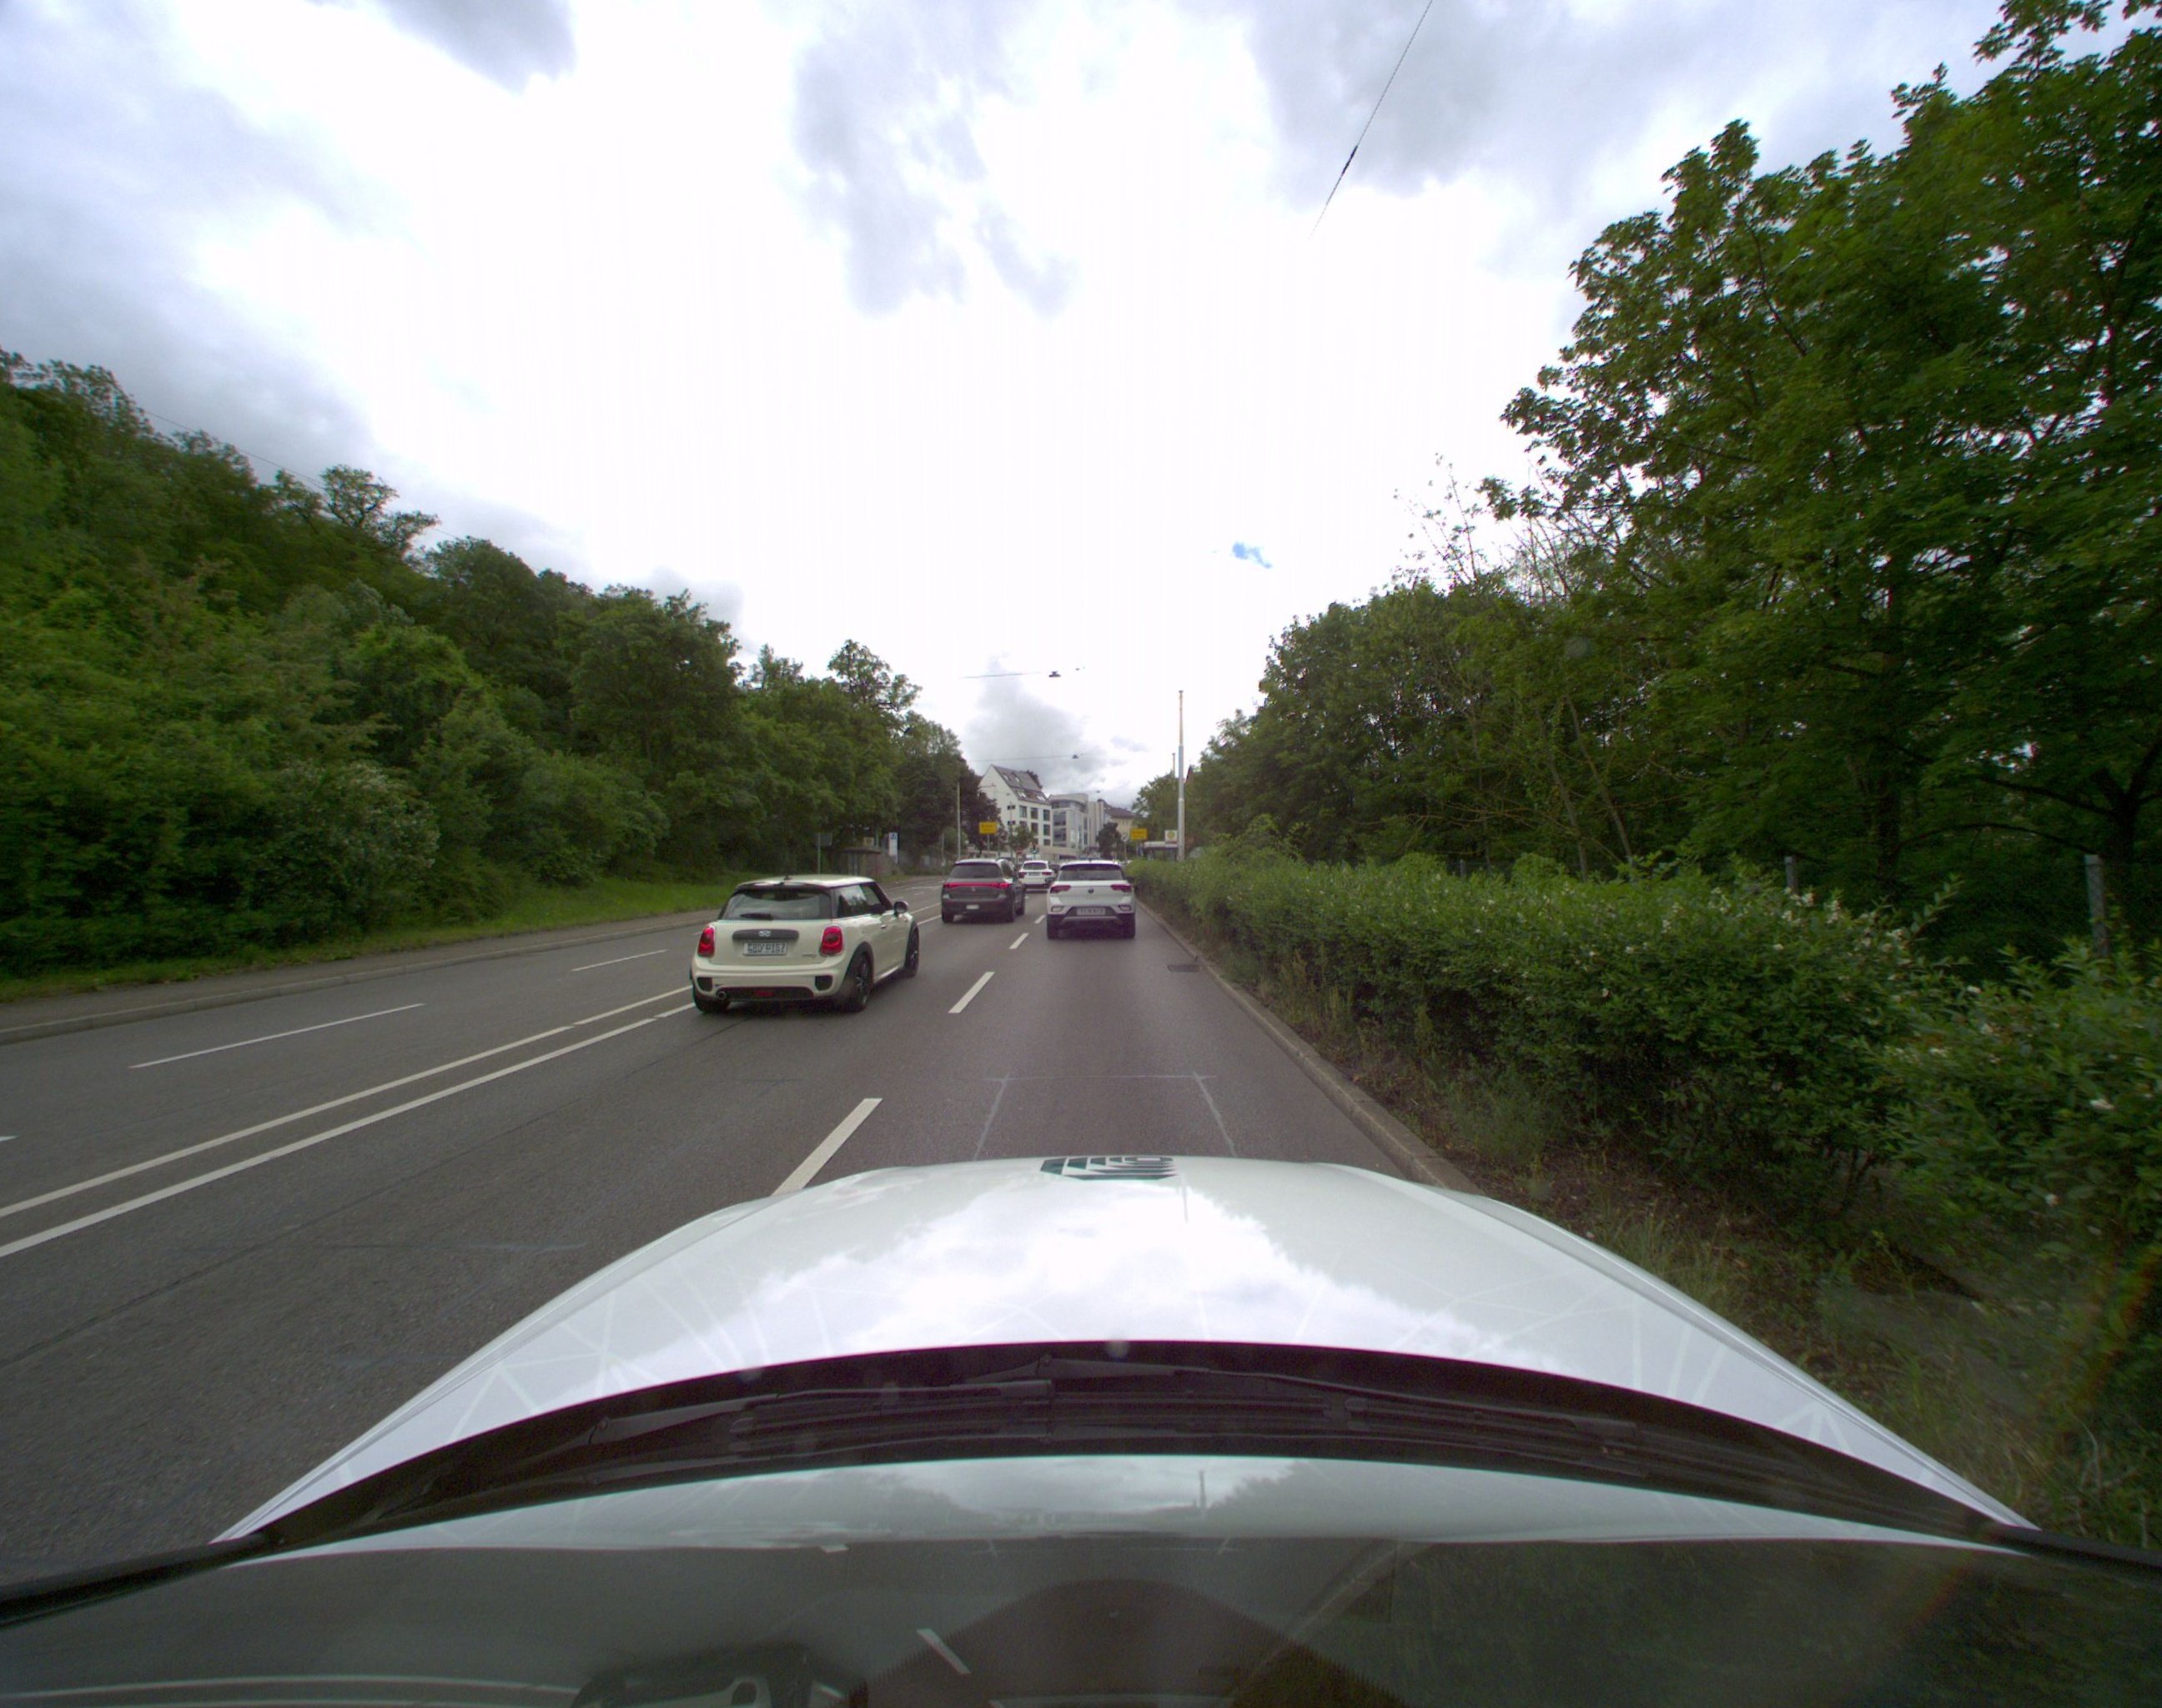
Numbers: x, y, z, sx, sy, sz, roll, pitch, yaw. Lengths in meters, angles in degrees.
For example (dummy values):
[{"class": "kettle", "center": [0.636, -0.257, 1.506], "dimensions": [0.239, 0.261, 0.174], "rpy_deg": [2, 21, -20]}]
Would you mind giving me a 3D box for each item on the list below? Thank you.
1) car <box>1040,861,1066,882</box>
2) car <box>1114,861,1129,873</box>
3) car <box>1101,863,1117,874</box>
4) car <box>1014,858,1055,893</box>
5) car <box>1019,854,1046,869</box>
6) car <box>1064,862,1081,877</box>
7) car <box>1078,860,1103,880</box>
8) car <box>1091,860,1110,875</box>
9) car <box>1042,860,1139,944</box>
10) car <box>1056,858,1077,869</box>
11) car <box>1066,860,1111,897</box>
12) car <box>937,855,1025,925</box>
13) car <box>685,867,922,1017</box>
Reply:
[{"class": "car", "center": [-2.106, 1.281, 62.143], "dimensions": [1.852, 1.500, 4.054], "rpy_deg": [-2, -1, -1]}, {"class": "car", "center": [5.767, 1.824, 114.671], "dimensions": [1.848, 1.500, 4.063], "rpy_deg": [-2, -1, 6]}, {"class": "car", "center": [4.128, 2.102, 118.489], "dimensions": [1.847, 1.500, 4.065], "rpy_deg": [-2, -1, 8]}, {"class": "car", "center": [-2.339, 1.059, 42.163], "dimensions": [1.852, 1.652, 4.634], "rpy_deg": [-2, -1, 0]}, {"class": "car", "center": [-8.235, 1.275, 139.028], "dimensions": [2.214, 2.568, 7.454], "rpy_deg": [-1, -1, 17]}, {"class": "car", "center": [-0.904, 1.674, 89.271], "dimensions": [1.852, 1.500, 4.054], "rpy_deg": [-2, -1, -1]}, {"class": "car", "center": [0.762, 1.241, 65.215], "dimensions": [1.867, 1.501, 4.554], "rpy_deg": [2, -1, 0]}, {"class": "car", "center": [2.011, 1.405, 85.312], "dimensions": [1.852, 1.500, 4.054], "rpy_deg": [-2, -1, -1]}, {"class": "car", "center": [0.168, 0.933, 17.318], "dimensions": [1.806, 1.539, 3.688], "rpy_deg": [-2, -1, -1]}, {"class": "car", "center": [-2.600, 1.694, 151.611], "dimensions": [1.965, 1.967, 5.246], "rpy_deg": [-1, -1, 22]}, {"class": "car", "center": [0.303, 1.032, 36.085], "dimensions": [1.852, 1.500, 4.054], "rpy_deg": [-2, -1, -1]}, {"class": "car", "center": [-2.602, 0.906, 22.216], "dimensions": [1.807, 1.652, 4.634], "rpy_deg": [-2, -1, 0]}, {"class": "car", "center": [-3.060, 0.887, 9.740], "dimensions": [1.623, 1.393, 3.564], "rpy_deg": [-2, -1, -1]}]
